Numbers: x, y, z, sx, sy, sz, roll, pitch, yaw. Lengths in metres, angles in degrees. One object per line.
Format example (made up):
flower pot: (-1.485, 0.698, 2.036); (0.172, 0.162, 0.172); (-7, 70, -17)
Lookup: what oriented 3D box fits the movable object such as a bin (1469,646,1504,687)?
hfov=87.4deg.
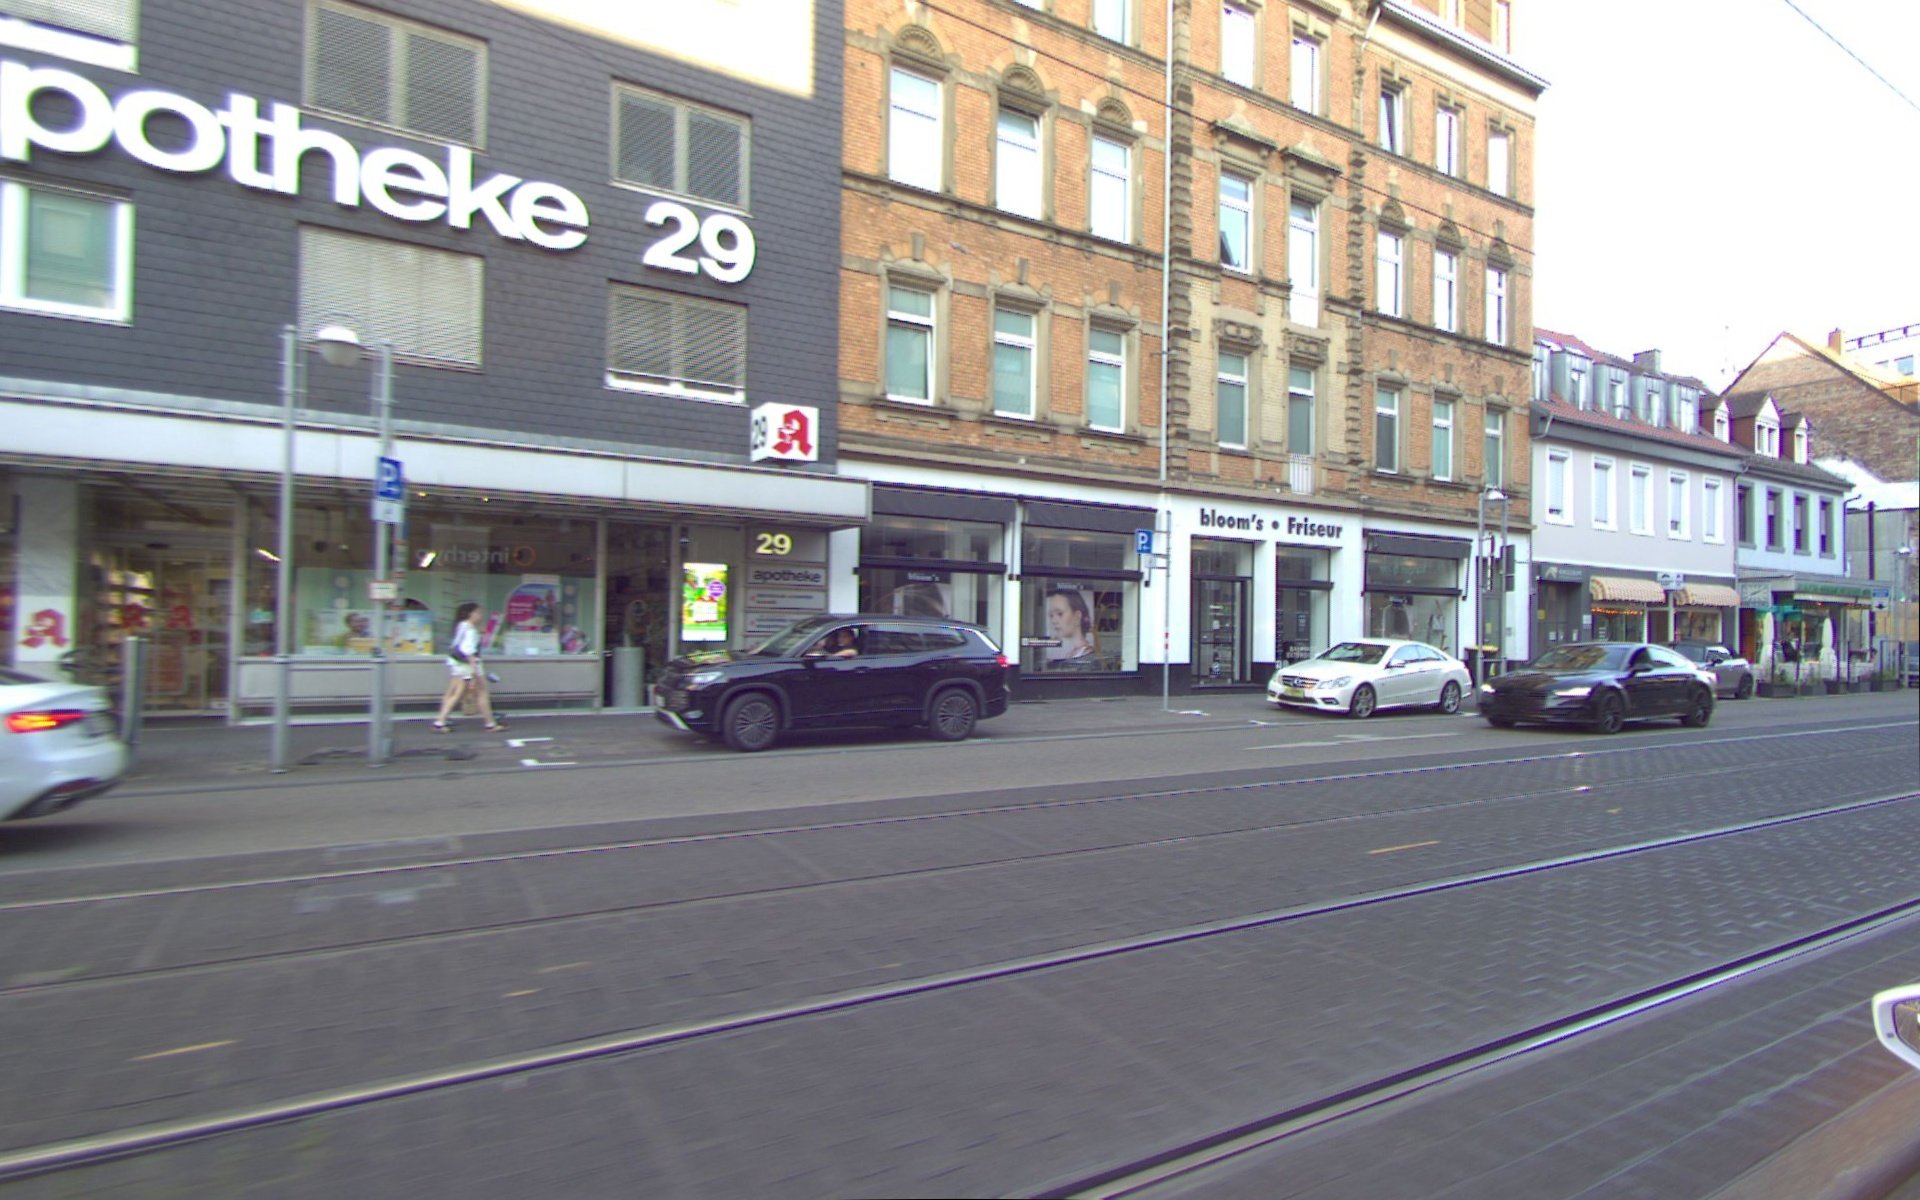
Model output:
movable object such as a bin: (13.957, 1.750, 26.627); (0.686, 1.047, 0.492); (2, 1, -31)

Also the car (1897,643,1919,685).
car: (35.656, 2.294, 35.810); (4.764, 1.472, 1.985); (2, -2, -30)

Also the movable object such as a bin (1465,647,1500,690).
movable object such as a bin: (13.473, 1.759, 25.908); (0.652, 1.057, 0.515); (1, 1, -31)

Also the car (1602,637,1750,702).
car: (18.088, 1.728, 25.339); (3.767, 1.459, 1.591); (2, 0, -30)

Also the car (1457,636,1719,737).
car: (10.549, 1.375, 16.792); (4.600, 1.472, 1.982); (2, -3, -33)

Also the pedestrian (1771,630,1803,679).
pedestrian: (28.315, 1.854, 34.395); (0.686, 1.666, 0.659); (1, -1, -30)

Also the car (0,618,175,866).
car: (-7.743, 0.835, 5.927); (4.601, 1.471, 1.985); (2, -4, -30)

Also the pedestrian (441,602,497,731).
pedestrian: (-6.626, 0.875, 13.558); (0.617, 1.683, 0.679); (1, 0, -31)

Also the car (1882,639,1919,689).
car: (32.100, 2.117, 33.385); (2.764, 1.598, 1.469); (2, -2, -33)

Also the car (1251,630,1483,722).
car: (7.882, 1.403, 19.314); (4.562, 1.472, 1.857); (2, 1, -34)

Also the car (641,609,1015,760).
car: (-1.720, 1.025, 13.466); (4.588, 1.697, 1.922); (1, 0, -29)

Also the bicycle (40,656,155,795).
bicycle: (-8.242, 1.144, 9.662); (0.483, 1.061, 1.822); (0, 2, -30)

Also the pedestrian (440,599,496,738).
pedestrian: (-6.327, 0.860, 12.906); (0.595, 1.722, 0.617); (1, 0, -31)
